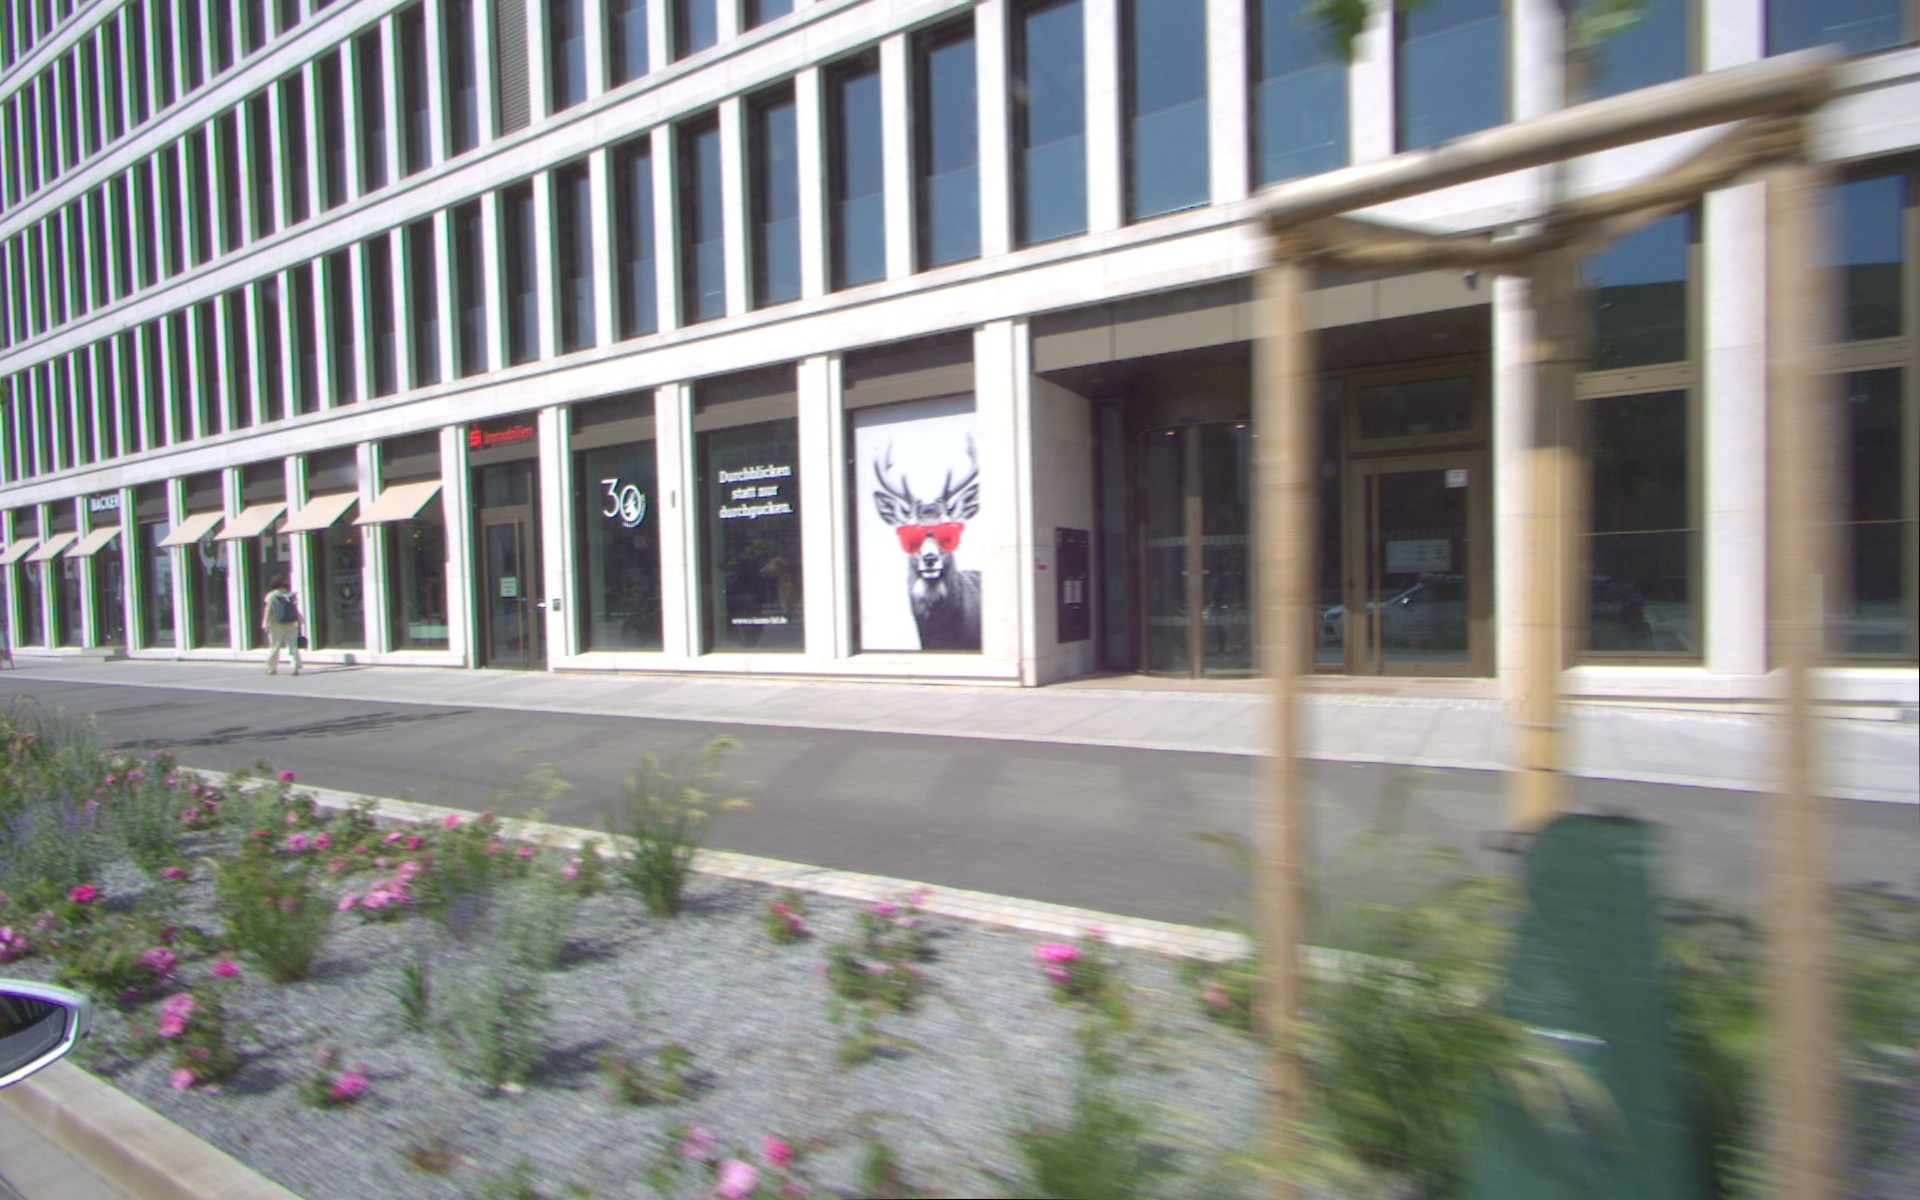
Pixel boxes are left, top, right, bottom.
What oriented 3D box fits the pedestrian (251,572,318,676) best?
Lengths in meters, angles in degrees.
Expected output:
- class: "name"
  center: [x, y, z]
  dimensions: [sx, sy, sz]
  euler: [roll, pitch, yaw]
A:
- class: "pedestrian"
  center: [-11.724, 0.405, 17.392]
  dimensions: [0.802, 1.766, 0.626]
  euler: [0, 3, 32]
